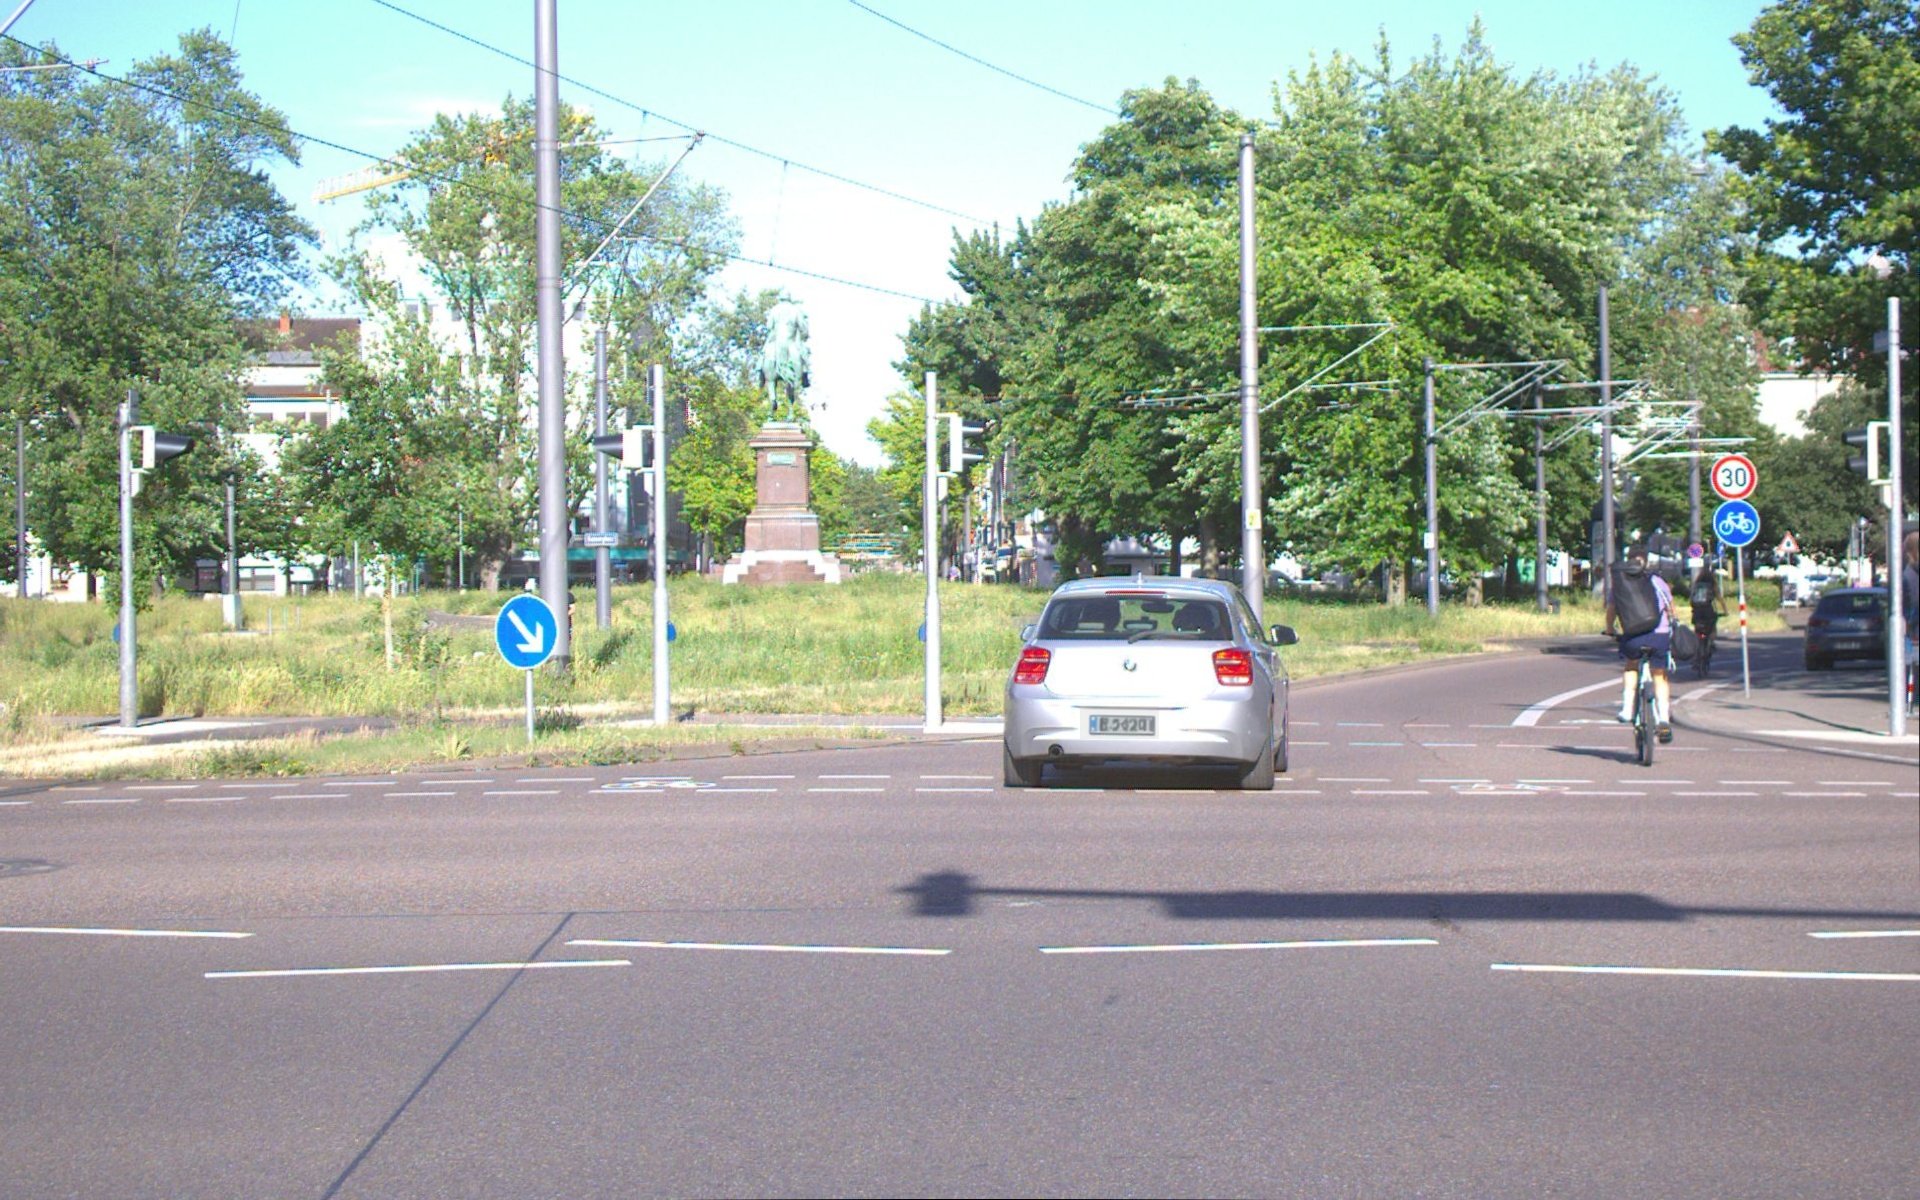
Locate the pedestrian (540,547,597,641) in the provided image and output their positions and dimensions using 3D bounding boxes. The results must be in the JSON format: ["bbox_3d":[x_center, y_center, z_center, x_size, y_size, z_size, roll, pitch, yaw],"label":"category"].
[{"bbox_3d":[-6.921,-0.112,60.831,0.735,1.665,0.743,0,0,24],"label":"pedestrian"}]

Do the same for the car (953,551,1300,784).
[{"bbox_3d":[1.250,0.431,23.758,1.994,1.418,4.195,1,0,8],"label":"car"}]

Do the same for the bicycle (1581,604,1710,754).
[{"bbox_3d":[5.509,0.612,27.539,0.886,1.132,2.227,1,0,14],"label":"bicycle"}]

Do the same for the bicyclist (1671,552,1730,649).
[{"bbox_3d":[12.666,0.007,58.779,0.940,1.628,0.935,1,0,12],"label":"bicyclist"}]

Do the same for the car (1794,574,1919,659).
[{"bbox_3d":[16.202,0.275,61.835,1.767,1.433,4.578,-1,1,21],"label":"car"}]

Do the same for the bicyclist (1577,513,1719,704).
[{"bbox_3d":[5.509,0.067,27.482,1.038,1.479,0.988,1,0,14],"label":"bicyclist"}]

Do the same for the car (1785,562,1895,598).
[{"bbox_3d":[47.327,-1.063,184.996,5.263,1.794,2.164,1,0,-3],"label":"car"}]

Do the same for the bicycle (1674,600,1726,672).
[{"bbox_3d":[12.642,0.609,58.728,0.820,1.181,1.963,1,0,12],"label":"bicycle"}]

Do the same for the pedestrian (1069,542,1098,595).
[{"bbox_3d":[3.823,-0.979,106.635,0.673,1.610,0.555,2,0,-29],"label":"pedestrian"}]

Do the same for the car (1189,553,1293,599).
[{"bbox_3d":[15.051,-1.273,184.162,5.336,2.306,2.000,1,0,0],"label":"car"}]
